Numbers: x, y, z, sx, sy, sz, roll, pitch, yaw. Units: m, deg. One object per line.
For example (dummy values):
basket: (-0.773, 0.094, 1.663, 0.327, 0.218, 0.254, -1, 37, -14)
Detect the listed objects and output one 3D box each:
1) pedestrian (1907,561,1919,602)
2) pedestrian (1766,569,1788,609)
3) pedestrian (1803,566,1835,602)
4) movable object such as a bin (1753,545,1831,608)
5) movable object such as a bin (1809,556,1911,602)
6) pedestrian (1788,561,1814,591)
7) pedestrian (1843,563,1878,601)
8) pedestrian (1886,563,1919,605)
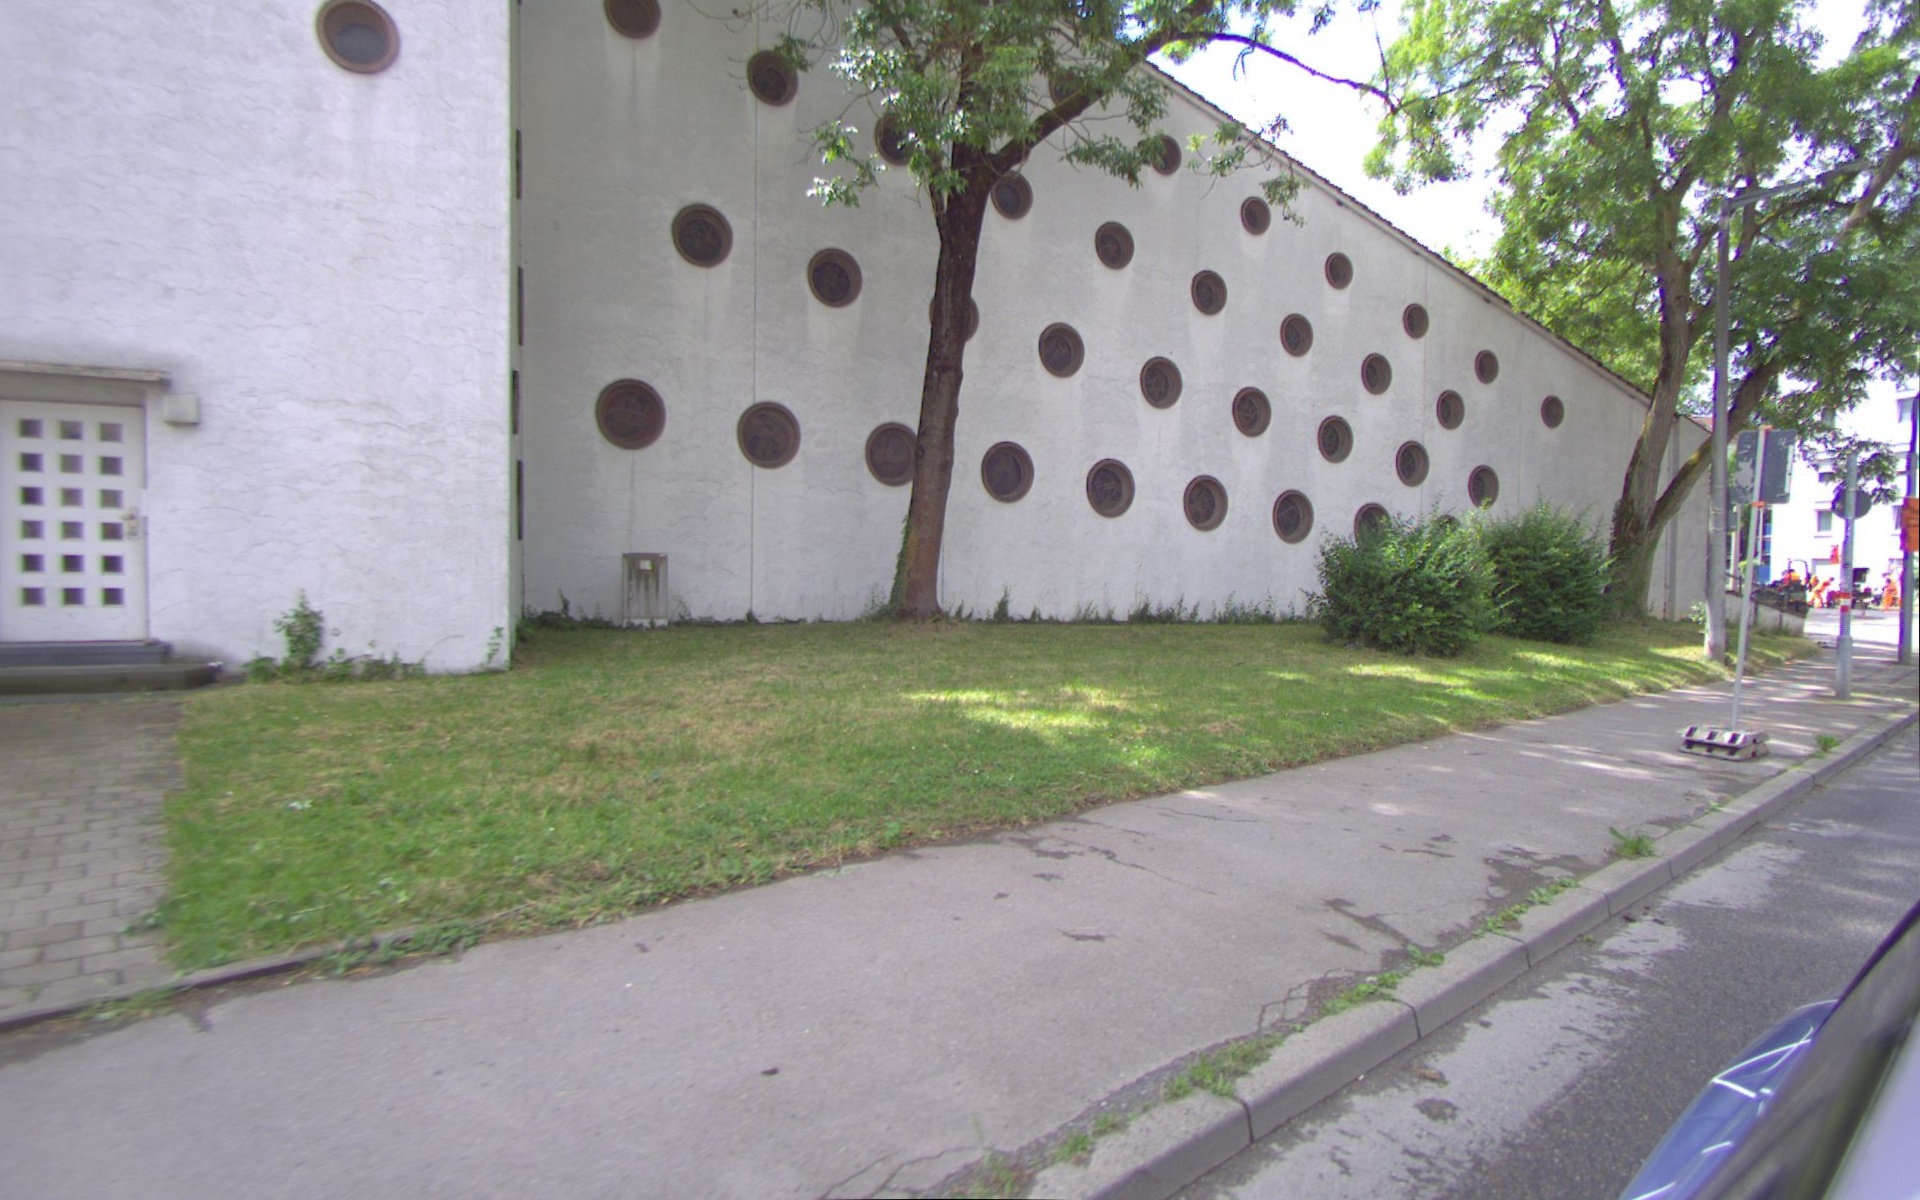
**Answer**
pedestrian: (46.108, -0.894, 48.543, 0.874, 1.931, 0.659, 1, 2, 34)
pedestrian: (35.148, -0.485, 43.542, 0.461, 1.702, 0.560, -2, 2, -9)
pedestrian: (41.638, -0.774, 49.047, 0.738, 1.738, 0.920, 0, 1, -7)
movable object such as a bin: (35.496, -1.015, 43.221, 1.295, 2.626, 2.364, 0, 1, -1)
movable object such as a bin: (41.746, -0.997, 47.020, 1.961, 2.038, 2.971, 1, 2, -3)
pedestrian: (35.213, -1.020, 42.387, 0.540, 1.231, 0.618, 1, 1, -2)
pedestrian: (42.700, -0.857, 47.999, 0.843, 1.738, 0.919, 0, 1, -2)
pedestrian: (42.188, -0.721, 45.287, 0.767, 1.862, 0.770, 0, 1, -15)
